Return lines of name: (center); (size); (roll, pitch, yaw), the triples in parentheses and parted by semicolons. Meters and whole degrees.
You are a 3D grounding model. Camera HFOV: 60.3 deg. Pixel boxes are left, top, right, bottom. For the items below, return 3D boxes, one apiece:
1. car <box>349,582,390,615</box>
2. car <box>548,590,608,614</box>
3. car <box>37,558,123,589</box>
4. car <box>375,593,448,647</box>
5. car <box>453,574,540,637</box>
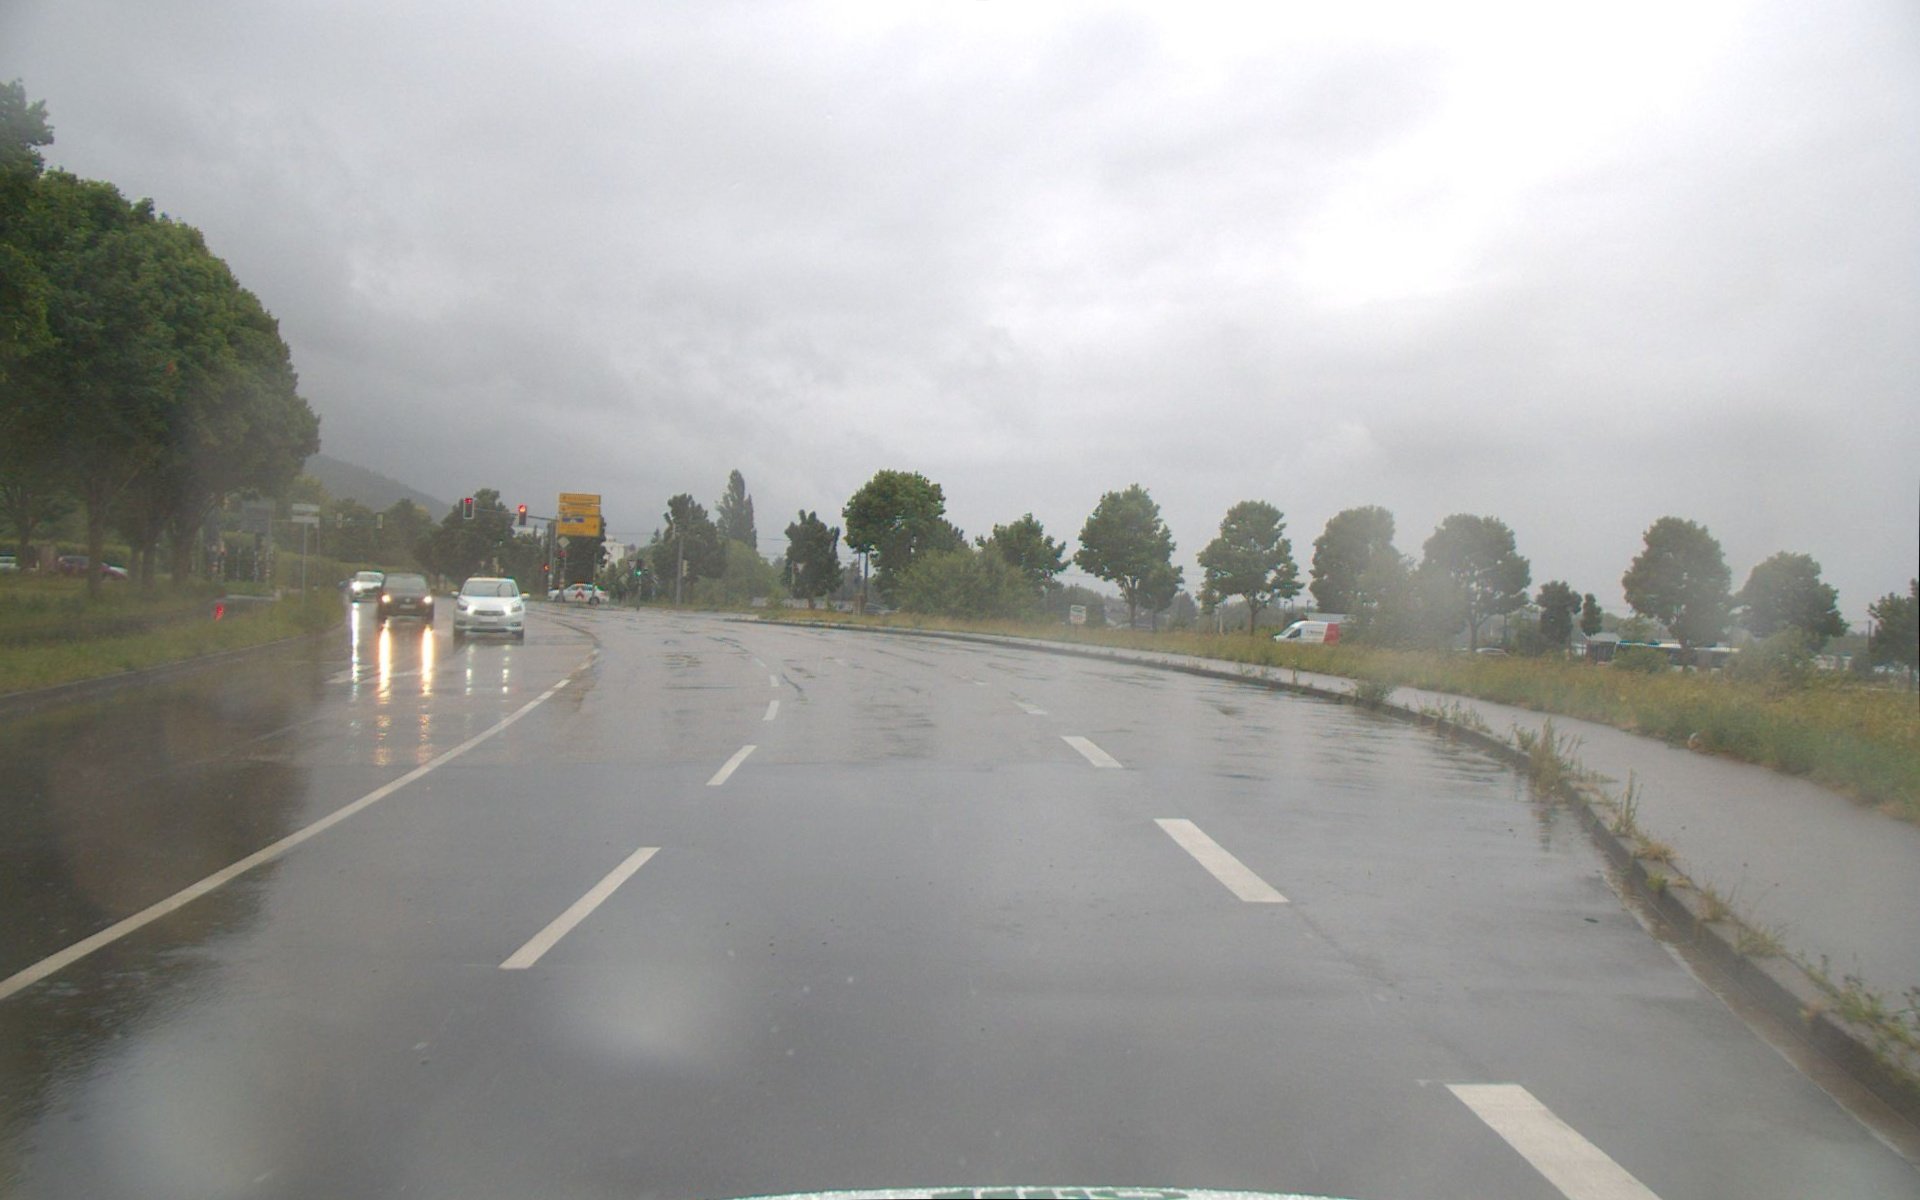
car: (-29.641, -0.106, 83.117); (1.850, 1.601, 4.620); (1, 0, -19)
car: (-28.997, 0.162, 125.623); (4.301, 1.607, 1.726); (3, 0, -14)
car: (-53.989, -1.612, 101.574); (4.304, 1.607, 1.725); (3, 0, -16)
car: (-18.088, 0.634, 54.679); (1.852, 1.615, 4.103); (4, -1, -14)
car: (-11.755, 0.124, 42.142); (1.707, 1.513, 4.001); (1, 0, -10)
